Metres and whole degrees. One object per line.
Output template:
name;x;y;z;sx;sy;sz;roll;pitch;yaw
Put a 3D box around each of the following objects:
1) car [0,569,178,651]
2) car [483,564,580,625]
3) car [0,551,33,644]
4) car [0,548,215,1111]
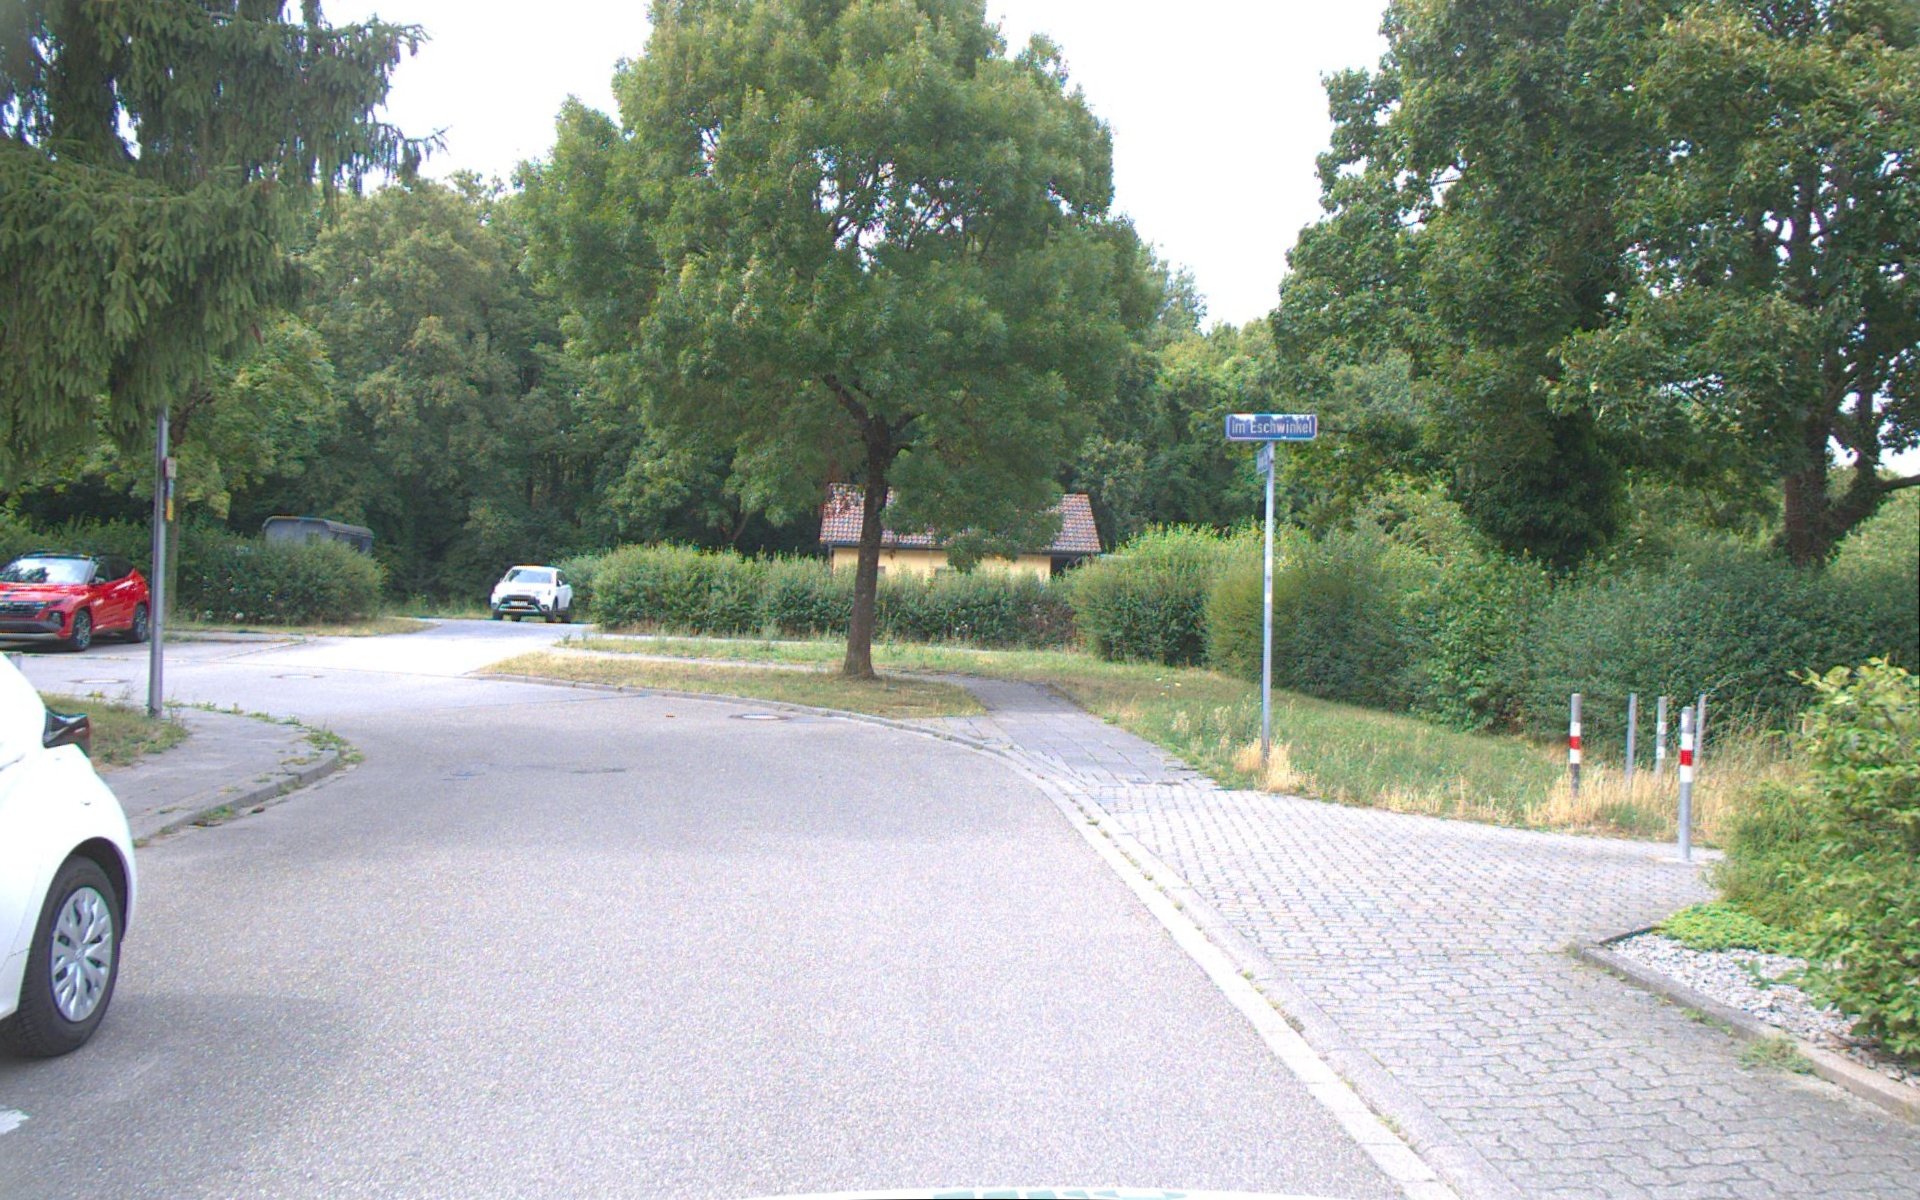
car;-15.894;0.136;29.463;1.954;1.313;4.689;2;0;-4
car;-12.663;-0.162;49.173;1.899;1.689;4.338;2;0;-3
car;-18.596;-0.069;29.198;2.050;1.715;4.689;2;0;-4
car;-3.491;0.622;3.859;1.756;1.558;4.138;1;0;-3
